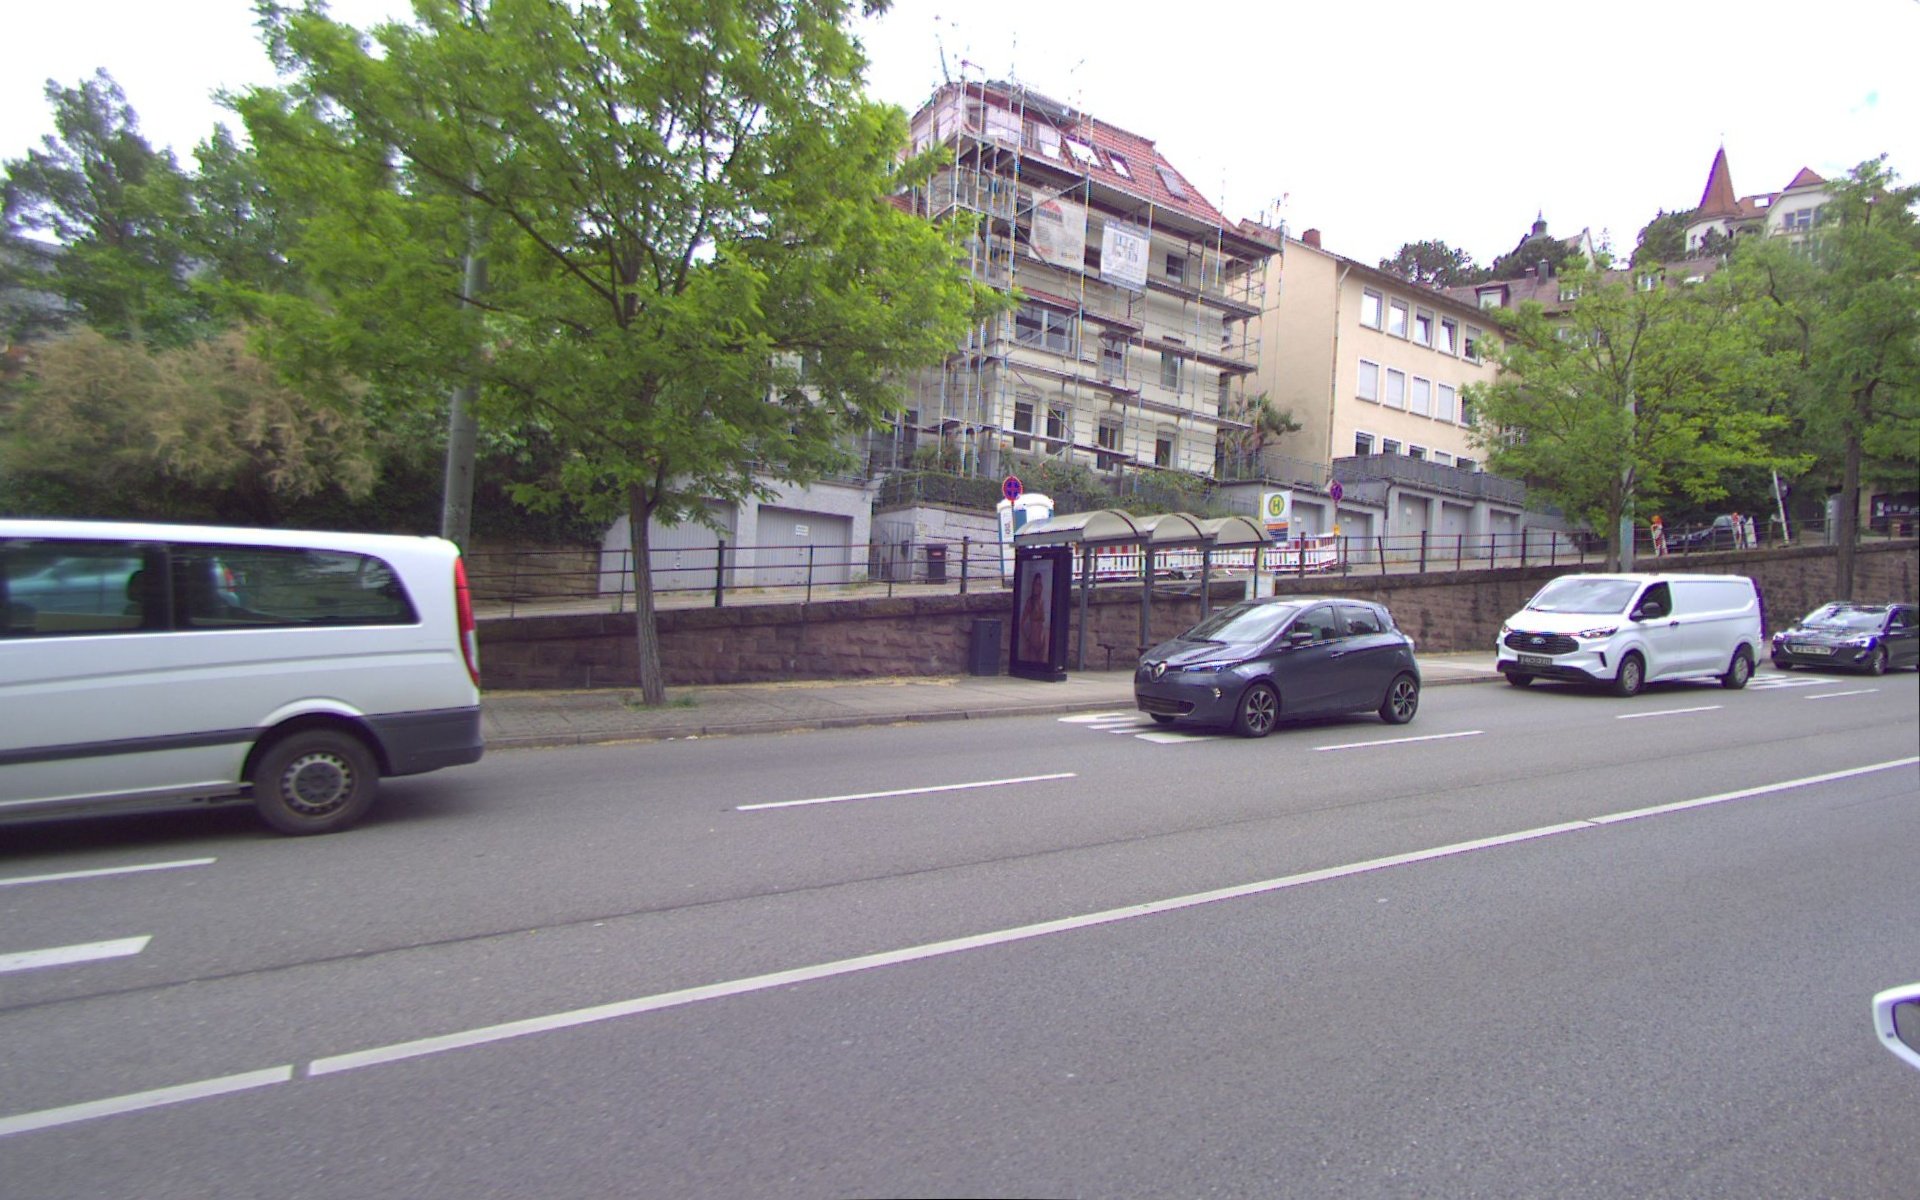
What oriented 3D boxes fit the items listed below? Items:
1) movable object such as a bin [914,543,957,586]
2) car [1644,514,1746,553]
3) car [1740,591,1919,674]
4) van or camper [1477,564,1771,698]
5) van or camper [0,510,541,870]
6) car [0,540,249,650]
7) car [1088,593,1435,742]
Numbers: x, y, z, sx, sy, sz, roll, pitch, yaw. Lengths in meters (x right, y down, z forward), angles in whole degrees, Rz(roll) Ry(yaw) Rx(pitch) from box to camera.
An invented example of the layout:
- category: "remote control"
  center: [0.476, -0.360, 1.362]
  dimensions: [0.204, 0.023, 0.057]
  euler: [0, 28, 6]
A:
- category: "movable object such as a bin"
  center: [-0.646, -0.930, 26.590]
  dimensions: [0.830, 1.056, 0.800]
  euler: [1, -1, -36]
- category: "car"
  center: [29.307, -2.621, 40.050]
  dimensions: [3.544, 1.296, 1.550]
  euler: [1, -2, -20]
- category: "car"
  center: [19.540, 0.670, 22.222]
  dimensions: [4.274, 1.640, 1.985]
  euler: [1, 2, -28]
- category: "van or camper"
  center: [11.676, 0.503, 17.565]
  dimensions: [5.493, 2.040, 1.985]
  euler: [1, 0, -29]
- category: "van or camper"
  center: [-5.627, 0.477, 6.188]
  dimensions: [5.395, 1.921, 1.983]
  euler: [1, 0, -32]
- category: "car"
  center: [-14.199, -0.110, 16.339]
  dimensions: [3.947, 1.595, 1.986]
  euler: [-3, 3, -27]
- category: "car"
  center: [3.761, 0.730, 12.460]
  dimensions: [3.944, 1.541, 1.983]
  euler: [1, 1, -31]
